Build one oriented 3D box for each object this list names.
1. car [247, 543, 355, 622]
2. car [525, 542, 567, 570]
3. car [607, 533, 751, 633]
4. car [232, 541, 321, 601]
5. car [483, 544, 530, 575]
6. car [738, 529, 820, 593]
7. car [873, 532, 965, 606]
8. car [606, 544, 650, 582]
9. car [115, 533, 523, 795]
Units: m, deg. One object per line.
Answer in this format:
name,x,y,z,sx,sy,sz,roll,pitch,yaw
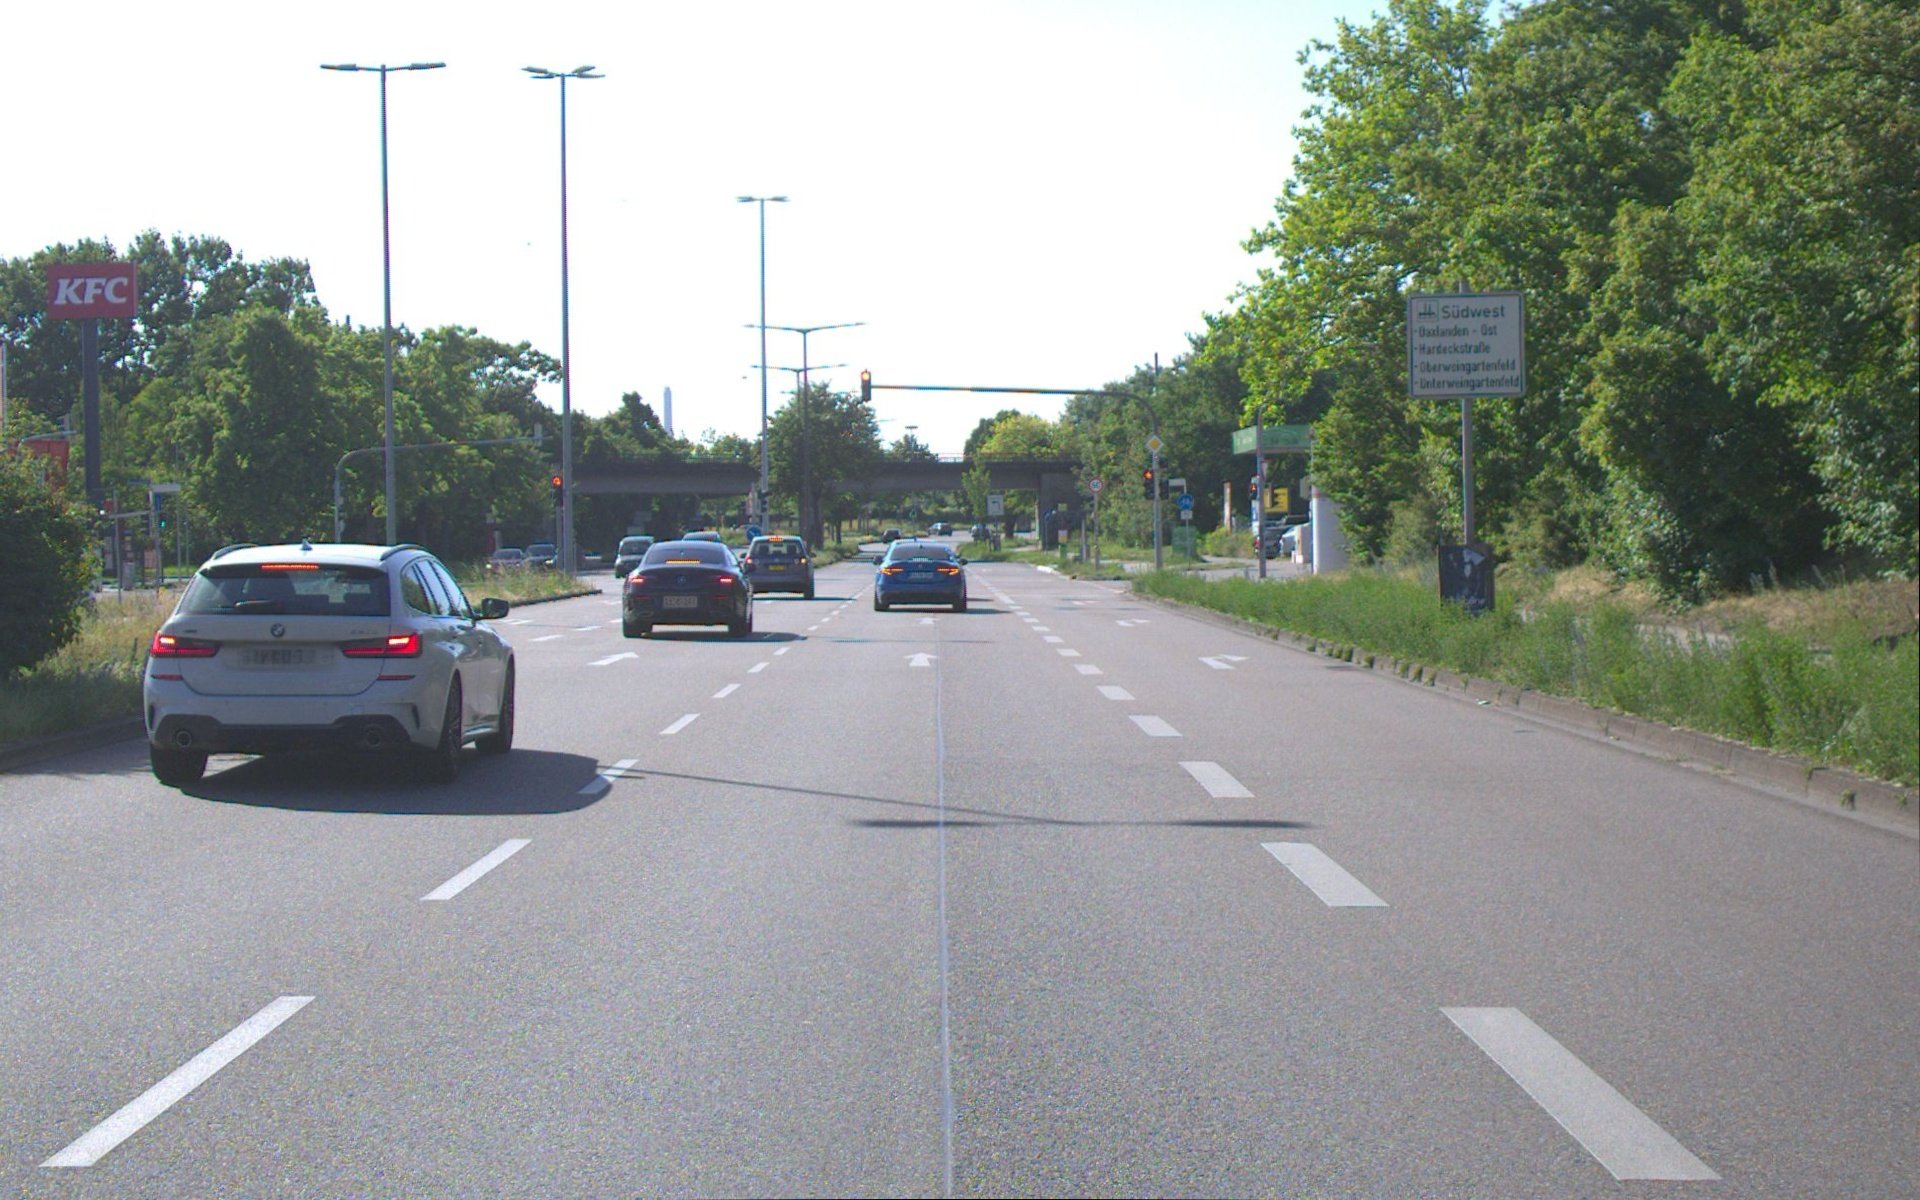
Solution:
car,-13.017,-0.365,68.081,1.493,1.503,3.487,0,1,0
car,-20.781,-2.210,172.658,1.703,1.397,3.723,0,1,0
car,-4.266,-0.291,52.723,1.861,1.450,4.548,0,1,-1
car,-17.502,-0.761,88.160,1.535,1.447,3.671,-2,1,0
car,-20.936,-1.900,158.816,1.703,1.397,3.723,0,1,0
car,-4.525,-0.994,86.336,1.861,1.560,4.548,0,1,-1
car,-0.859,-0.664,72.067,1.861,1.494,4.337,0,1,-1
car,-14.364,-1.614,148.783,1.535,1.575,3.671,-1,1,0
car,-3.989,0.327,22.116,1.861,1.450,4.548,1,1,-1
